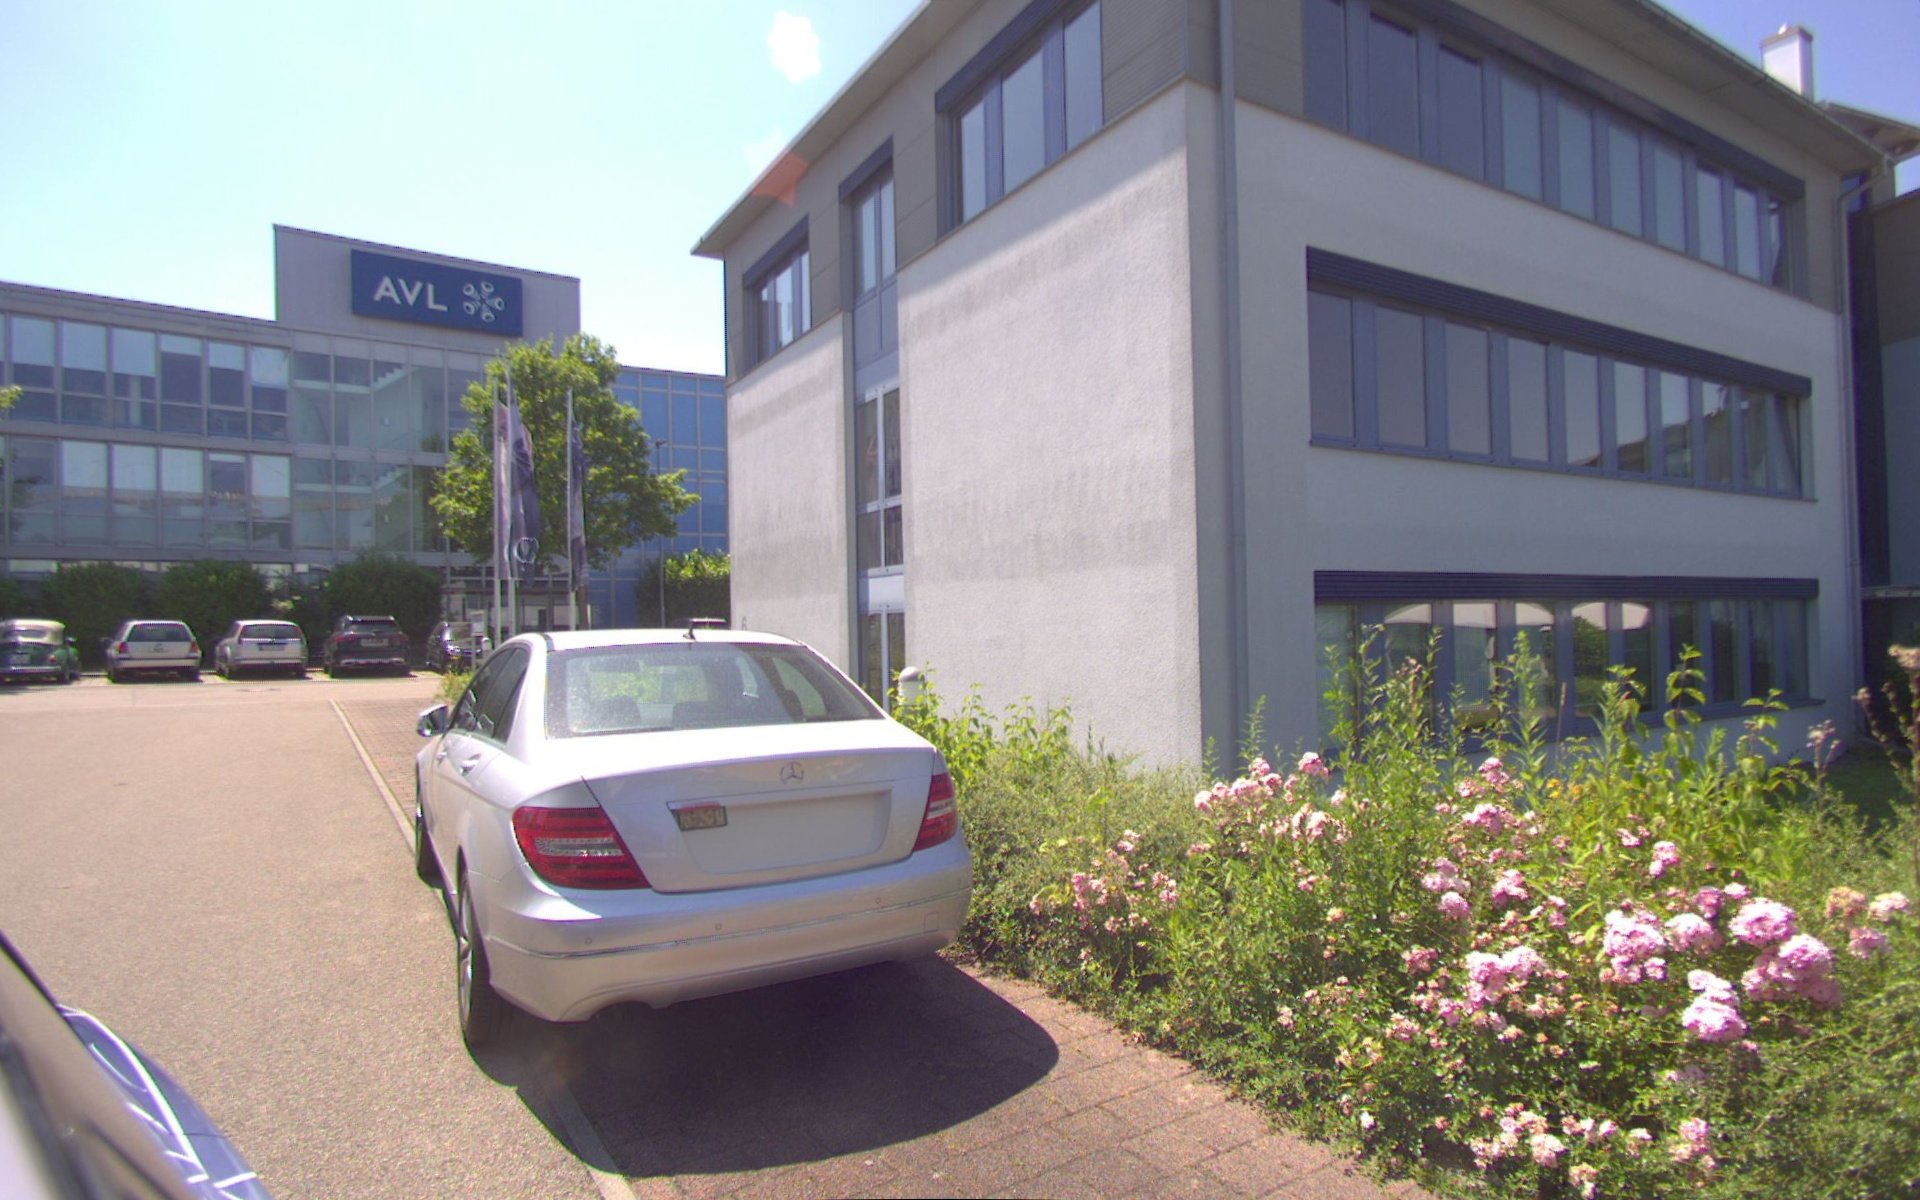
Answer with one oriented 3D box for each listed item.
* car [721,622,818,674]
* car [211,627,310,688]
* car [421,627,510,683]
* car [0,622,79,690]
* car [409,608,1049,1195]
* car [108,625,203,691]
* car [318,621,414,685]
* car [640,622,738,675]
[{"bbox_3d":[-6.526,1.592,34.332,1.802,1.650,4.183,1,-2,-33],"label":"car"},{"bbox_3d":[-18.545,1.469,26.781,1.705,1.463,3.605,2,-2,-41],"label":"car"},{"bbox_3d":[-14.492,1.529,29.521,1.702,1.495,4.408,1,-2,-34],"label":"car"},{"bbox_3d":[-21.682,1.257,23.588,1.498,1.457,3.426,2,-2,-38],"label":"car"},{"bbox_3d":[-1.502,0.818,4.779,1.705,1.468,4.160,1,-2,-31],"label":"car"},{"bbox_3d":[-19.946,1.384,25.031,1.618,1.463,3.605,3,-2,-41],"label":"car"},{"bbox_3d":[-16.501,1.413,28.028,1.908,1.615,3.869,2,-2,-36],"label":"car"},{"bbox_3d":[-8.969,1.549,33.266,1.803,1.650,4.182,1,-2,-35],"label":"car"}]
